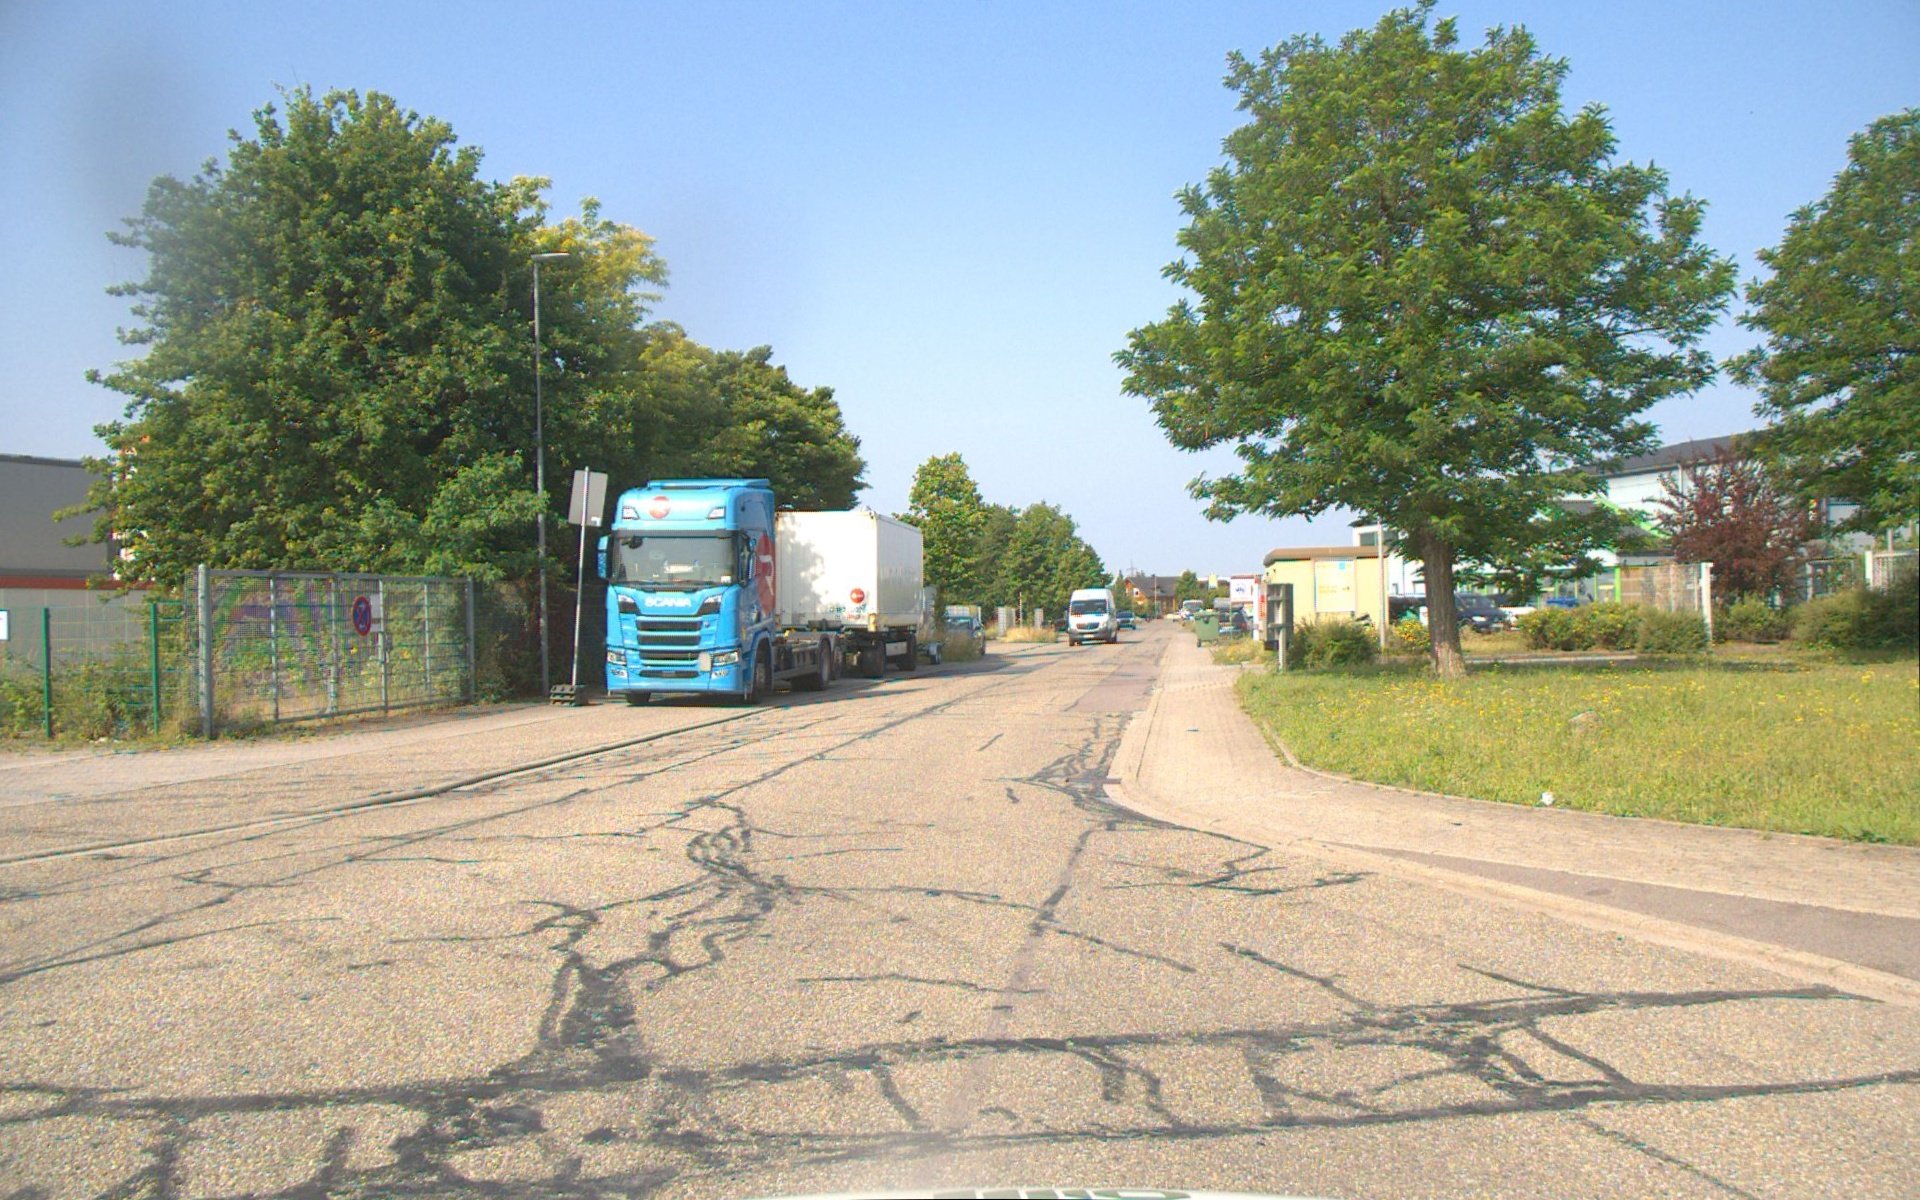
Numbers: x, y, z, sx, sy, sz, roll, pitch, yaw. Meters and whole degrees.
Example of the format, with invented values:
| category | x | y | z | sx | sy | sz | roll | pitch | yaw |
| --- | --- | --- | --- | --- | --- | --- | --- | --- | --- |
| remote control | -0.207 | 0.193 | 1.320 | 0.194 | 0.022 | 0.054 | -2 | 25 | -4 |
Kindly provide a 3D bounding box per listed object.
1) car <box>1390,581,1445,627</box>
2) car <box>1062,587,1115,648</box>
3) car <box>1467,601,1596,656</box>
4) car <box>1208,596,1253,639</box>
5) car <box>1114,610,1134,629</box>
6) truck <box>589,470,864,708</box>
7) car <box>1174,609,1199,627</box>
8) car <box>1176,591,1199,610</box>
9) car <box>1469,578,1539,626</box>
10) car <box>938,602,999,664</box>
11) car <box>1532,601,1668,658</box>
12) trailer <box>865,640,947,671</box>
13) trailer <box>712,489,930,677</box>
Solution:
| category | x | y | z | sx | sy | sz | roll | pitch | yaw |
| --- | --- | --- | --- | --- | --- | --- | --- | --- | --- |
| car | 17.000 | 0.181 | 61.581 | 1.680 | 1.646 | 4.003 | 0 | -1 | 11 |
| car | 6.019 | 0.865 | 78.237 | 2.168 | 2.733 | 6.854 | 0 | -1 | 2 |
| car | 14.585 | 0.732 | 42.387 | 1.637 | 1.353 | 3.656 | 0 | -1 | -8 |
| car | 11.508 | 0.768 | 70.546 | 1.754 | 1.780 | 4.003 | 0 | -1 | 7 |
| car | 15.419 | 1.842 | 155.671 | 1.605 | 1.691 | 4.001 | 0 | -1 | 2 |
| truck | -4.141 | -0.093 | 32.118 | 2.765 | 3.893 | 9.679 | 0 | -1 | 8 |
| car | 20.295 | 1.639 | 148.063 | 1.749 | 1.521 | 3.744 | 0 | -1 | 0 |
| car | 23.529 | 0.077 | 171.105 | 1.735 | 1.847 | 3.998 | 0 | -1 | -2 |
| car | 19.808 | 0.114 | 60.364 | 1.754 | 1.669 | 4.003 | 0 | -1 | 9 |
| car | 0.256 | 1.116 | 57.659 | 1.953 | 2.049 | 3.998 | -1 | 0 | -2 |
| car | 16.435 | 0.768 | 42.630 | 1.716 | 1.397 | 3.656 | 0 | -1 | -8 |
| trailer | -1.576 | 1.660 | 49.749 | 1.856 | 0.774 | 4.003 | -2 | 0 | 7 |
| trailer | -3.016 | -0.238 | 40.437 | 2.771 | 3.910 | 12.044 | 0 | -1 | 8 |
